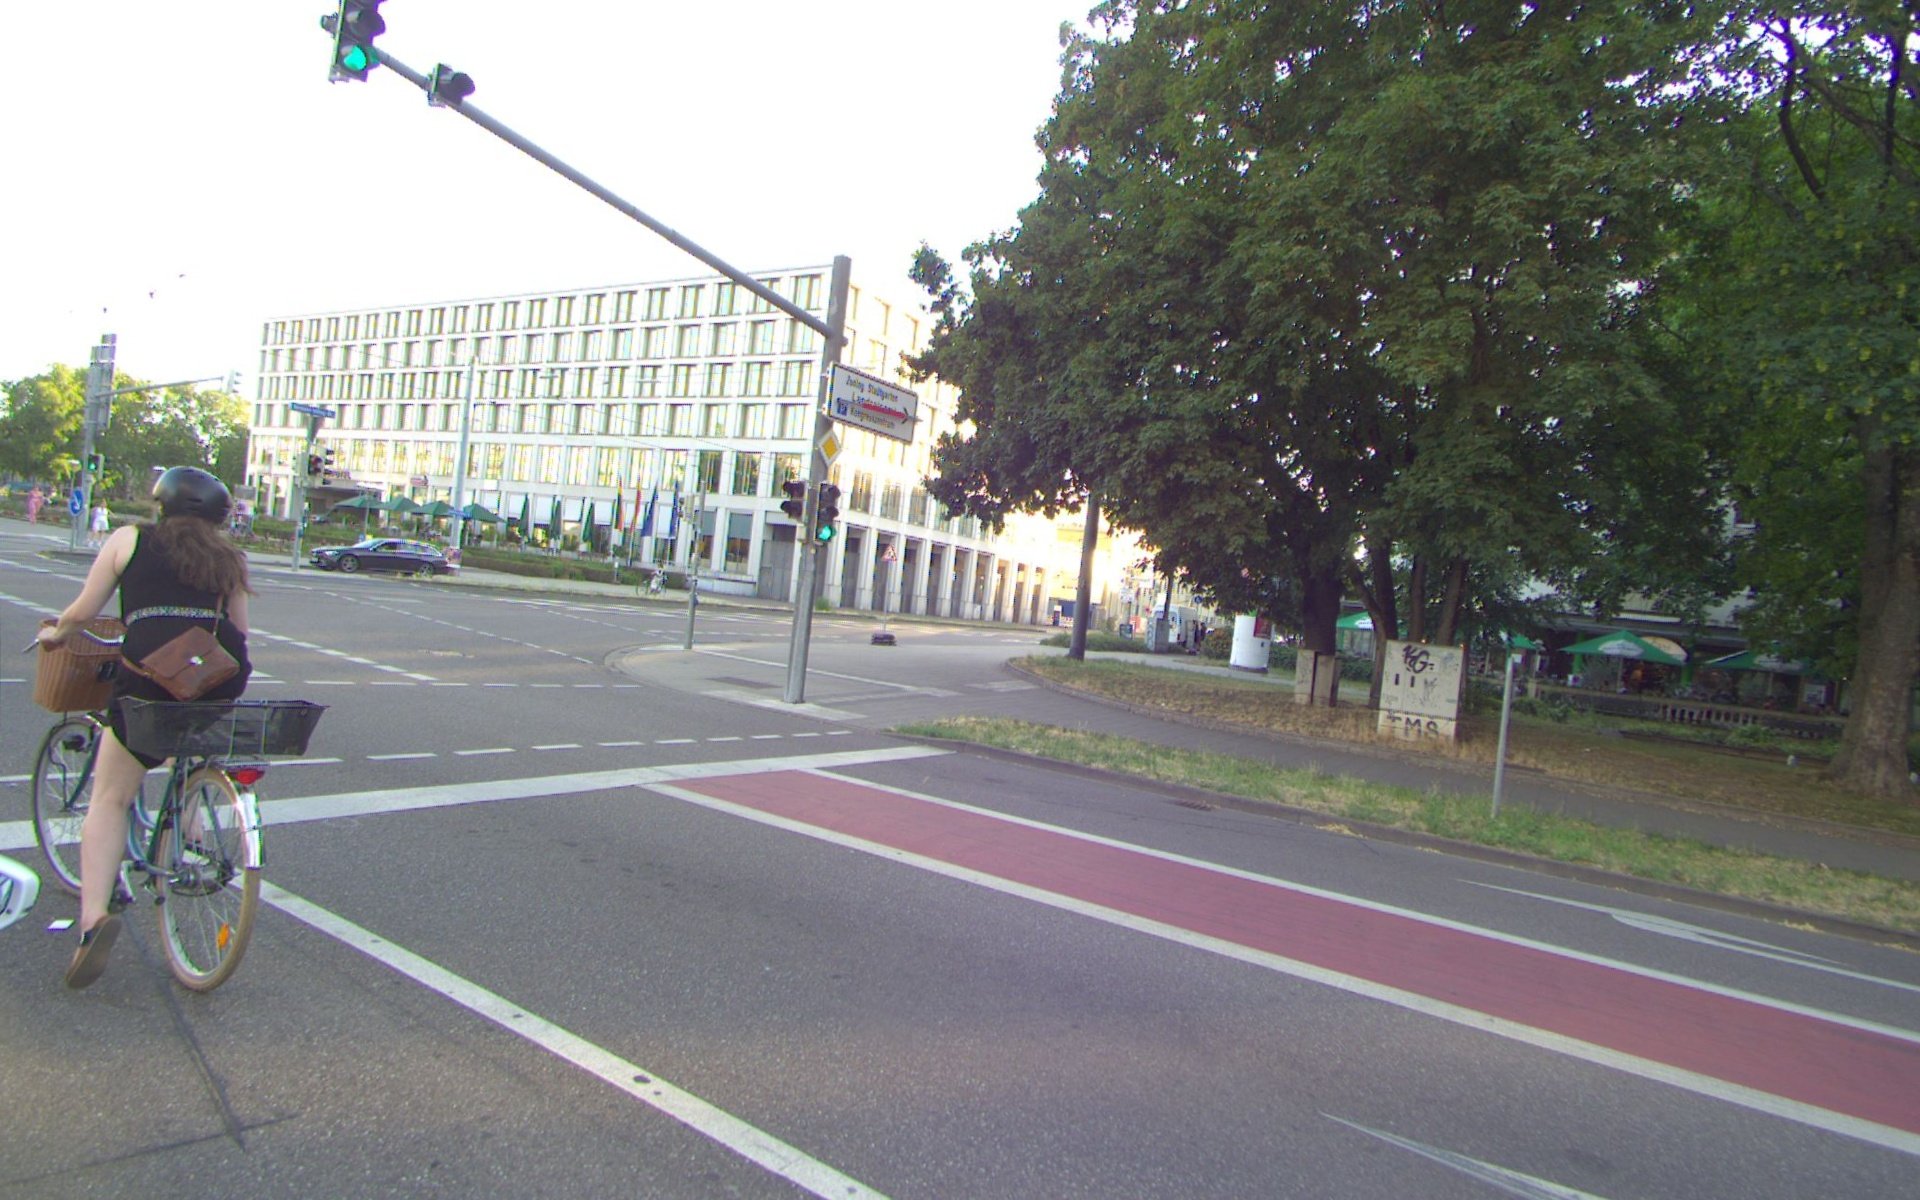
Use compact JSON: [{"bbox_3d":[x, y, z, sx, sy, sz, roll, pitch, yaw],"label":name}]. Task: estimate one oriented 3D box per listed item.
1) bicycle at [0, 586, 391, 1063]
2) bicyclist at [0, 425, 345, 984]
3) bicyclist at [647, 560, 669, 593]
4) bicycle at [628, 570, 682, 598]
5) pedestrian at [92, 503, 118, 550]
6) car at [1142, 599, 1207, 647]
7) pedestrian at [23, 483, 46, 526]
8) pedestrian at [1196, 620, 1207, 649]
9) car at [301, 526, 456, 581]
[{"bbox_3d":[-2.902,0.623,3.518,1.971,1.146,0.612,7,-1,32],"label":"bicycle"},{"bbox_3d":[-2.799,0.290,3.485,0.982,1.655,0.600,7,0,32],"label":"bicyclist"},{"bbox_3d":[-14.767,-1.148,49.212,0.567,1.556,0.708,7,1,29],"label":"bicyclist"},{"bbox_3d":[-14.865,-0.785,49.123,0.592,1.120,2.775,7,0,29],"label":"bicycle"},{"bbox_3d":[-29.848,-2.555,35.129,0.402,1.559,0.491,7,2,31],"label":"pedestrian"},{"bbox_3d":[11.898,1.291,55.553,1.967,2.318,4.605,6,0,31],"label":"car"},{"bbox_3d":[-37.988,-3.921,41.294,0.557,1.678,0.460,7,2,32],"label":"pedestrian"},{"bbox_3d":[13.394,1.922,55.763,0.302,1.525,0.336,6,-1,31],"label":"pedestrian"},{"bbox_3d":[-22.798,-1.791,39.632,1.968,1.534,4.826,7,0,34],"label":"car"}]
